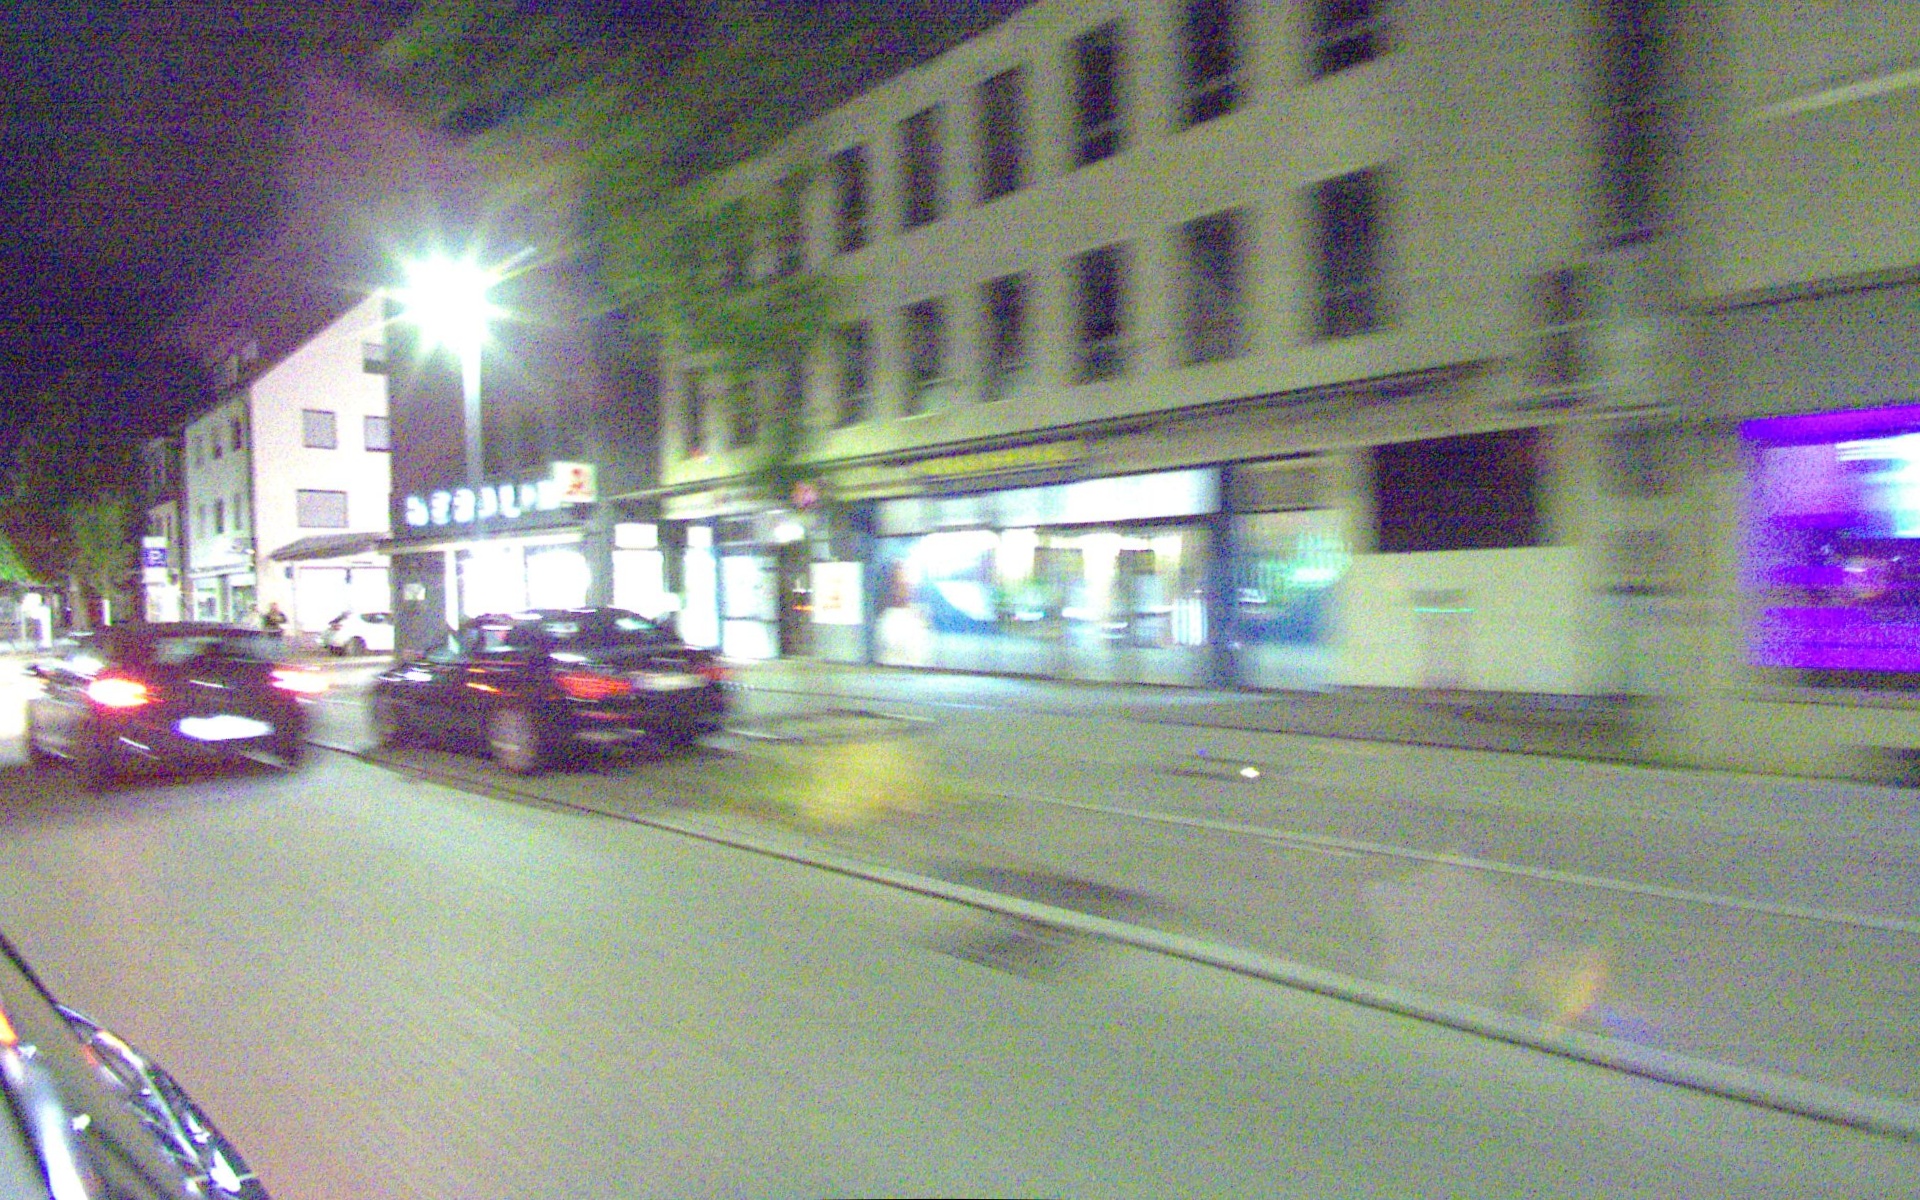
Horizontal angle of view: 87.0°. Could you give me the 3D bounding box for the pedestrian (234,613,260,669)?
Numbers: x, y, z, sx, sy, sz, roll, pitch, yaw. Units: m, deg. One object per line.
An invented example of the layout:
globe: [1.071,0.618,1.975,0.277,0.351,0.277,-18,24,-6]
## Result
pedestrian: [-20.688,1.172,29.363,0.520,1.600,0.668,-1,-1,-28]

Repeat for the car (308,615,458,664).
car: [-18.032,1.190,31.751,1.652,1.427,3.783,-2,-1,41]

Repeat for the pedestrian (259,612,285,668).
pedestrian: [-20.138,1.167,29.629,0.520,1.600,0.668,-1,-1,-28]

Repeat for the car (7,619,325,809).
car: [-7.763,0.941,9.775,3.813,1.439,1.699,-2,-1,41]

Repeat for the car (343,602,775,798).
car: [-4.163,0.817,10.026,4.927,1.430,1.877,-2,1,41]
